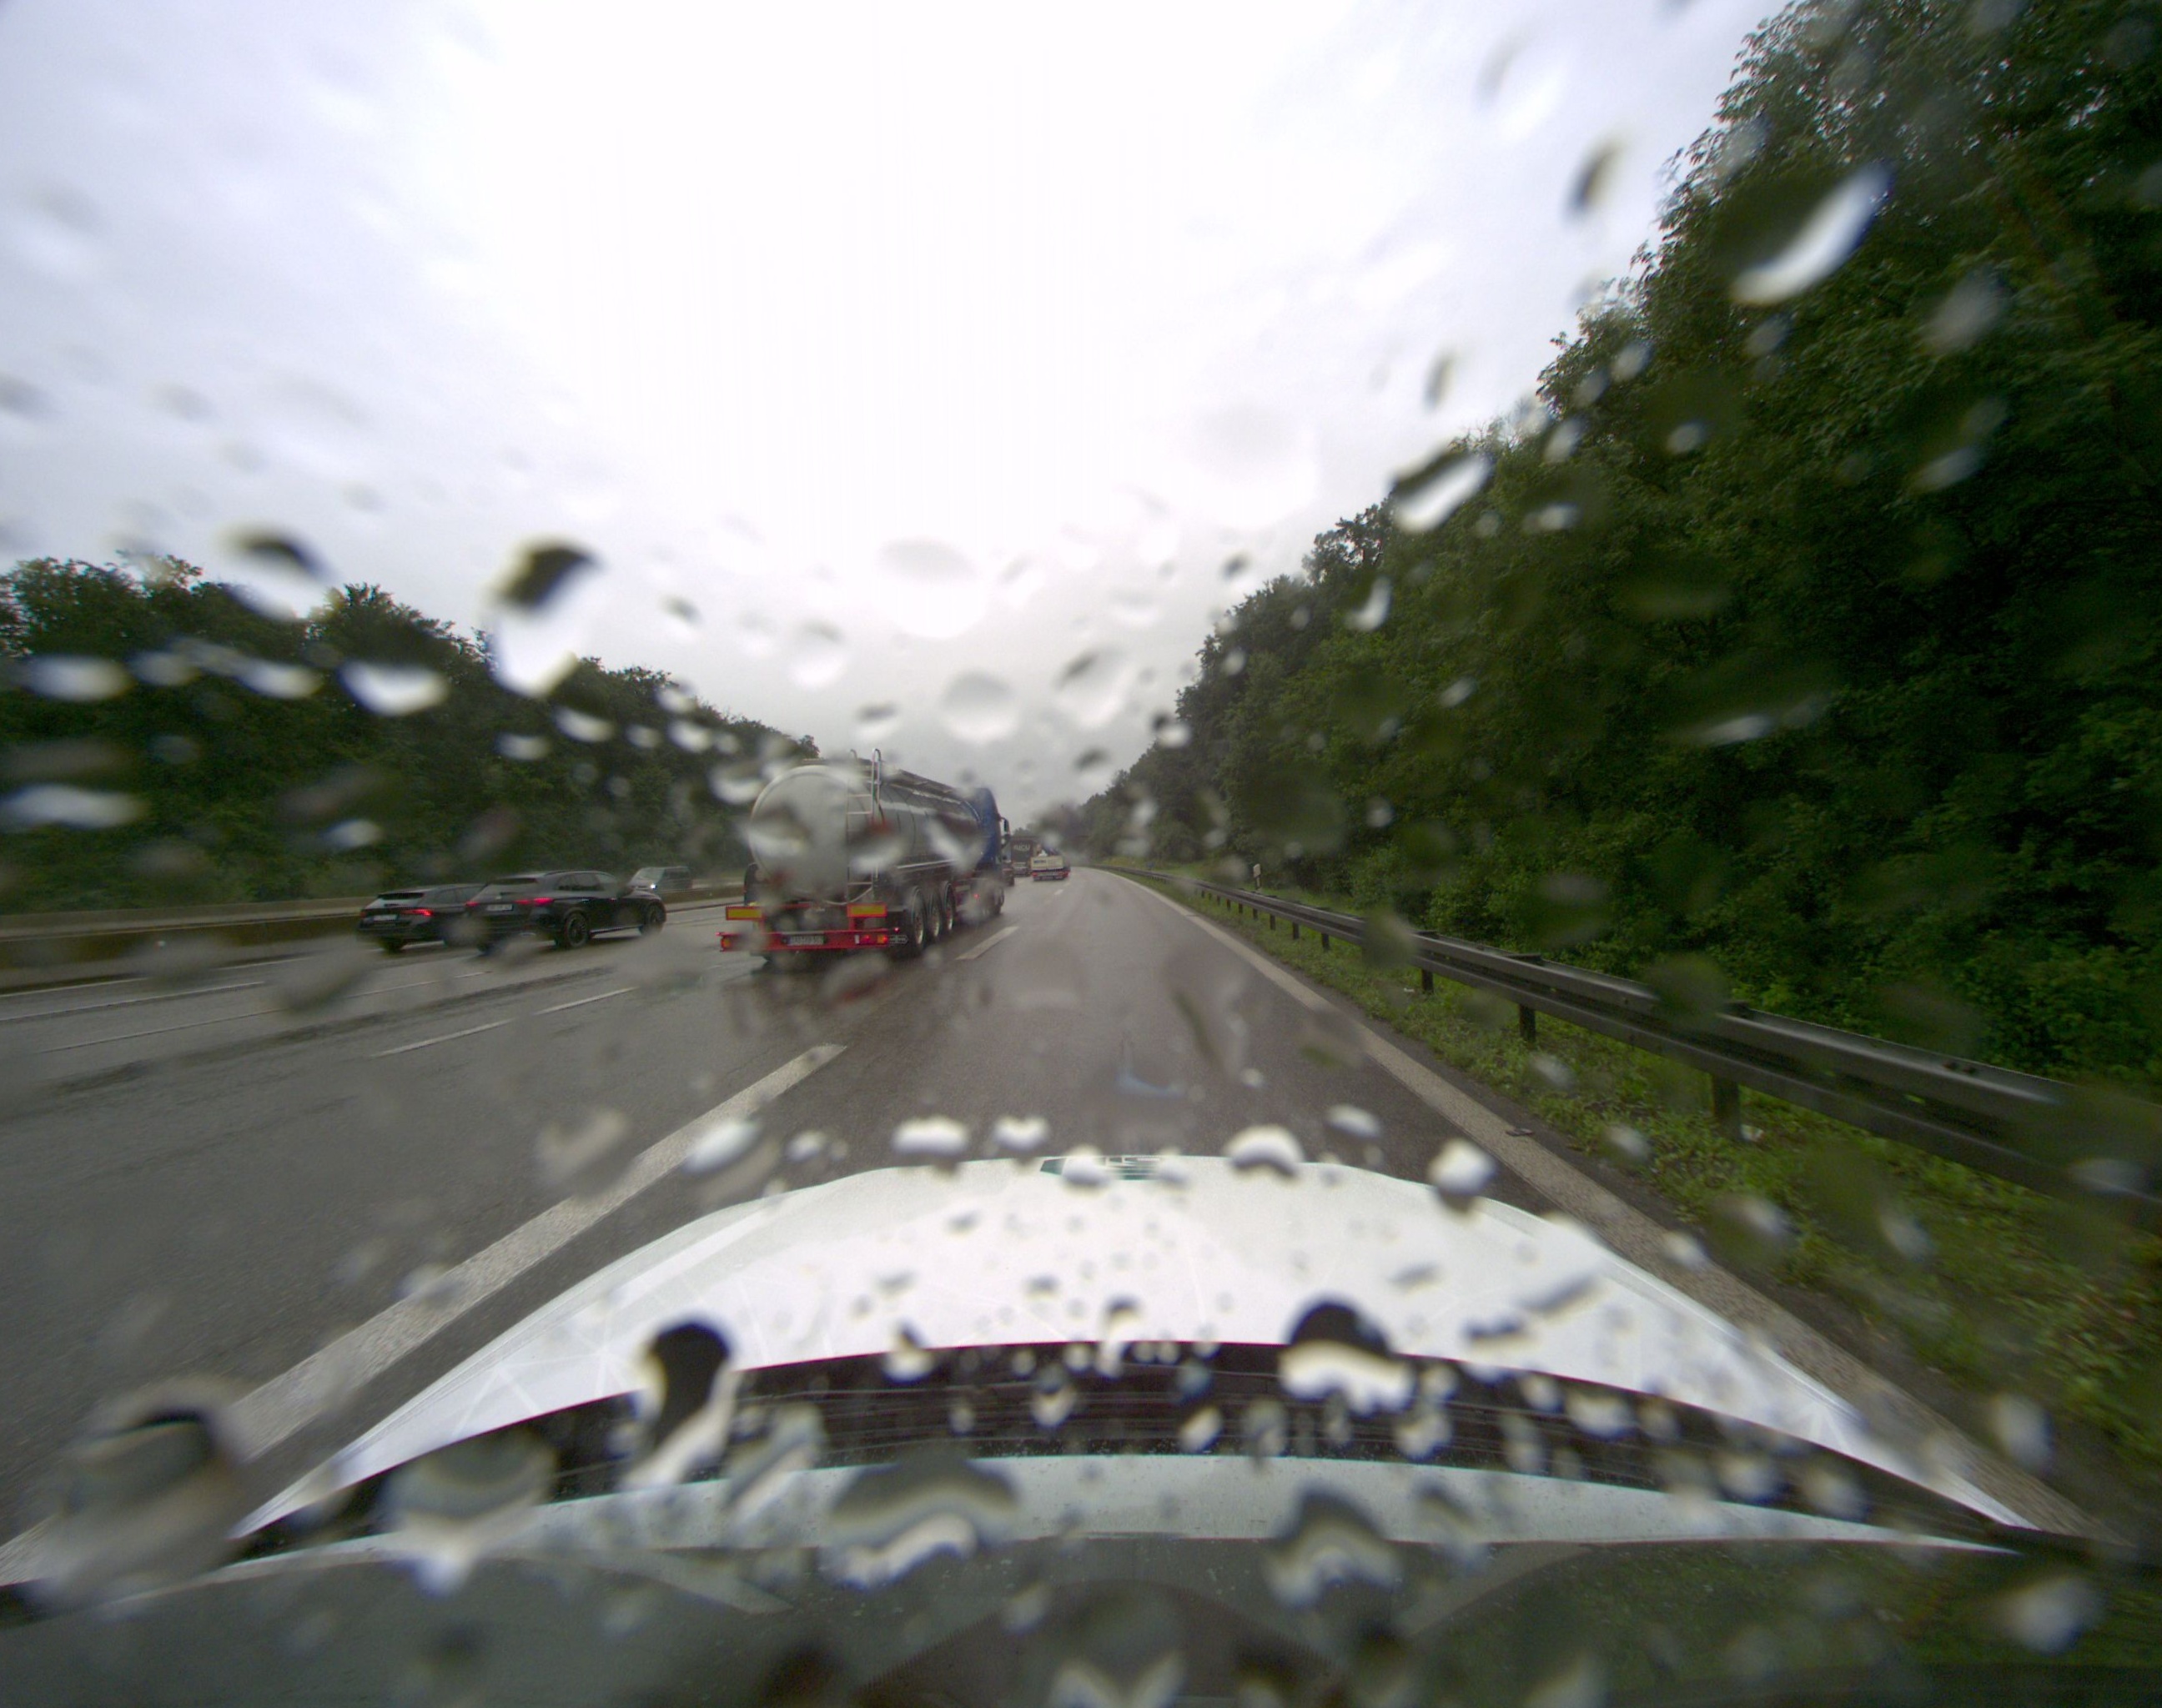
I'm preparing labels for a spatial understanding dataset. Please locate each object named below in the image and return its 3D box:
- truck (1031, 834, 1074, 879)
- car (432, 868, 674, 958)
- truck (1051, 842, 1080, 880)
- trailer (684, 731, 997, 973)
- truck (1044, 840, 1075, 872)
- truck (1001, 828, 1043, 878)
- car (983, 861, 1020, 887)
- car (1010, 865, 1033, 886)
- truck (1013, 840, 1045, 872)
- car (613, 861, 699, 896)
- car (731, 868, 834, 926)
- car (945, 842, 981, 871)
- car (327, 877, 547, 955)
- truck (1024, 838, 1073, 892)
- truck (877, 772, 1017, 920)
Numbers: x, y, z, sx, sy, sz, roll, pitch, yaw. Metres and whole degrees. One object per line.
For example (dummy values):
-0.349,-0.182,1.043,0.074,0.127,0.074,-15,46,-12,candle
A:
-2.890,0.374,85.475,3.493,4.269,10.607,2,-2,3,truck
-11.149,1.155,17.745,1.986,1.594,4.809,-2,0,1,car
-2.480,1.294,133.976,4.323,5.765,9.725,2,-2,-1,truck
-3.863,0.000,16.323,2.862,3.289,10.083,-1,0,2,trailer
-2.886,0.394,114.610,3.741,3.971,11.059,2,-2,1,truck
-6.943,0.063,97.623,3.740,5.500,10.174,2,-2,2,truck
-5.270,1.355,54.521,1.986,1.636,4.000,2,-2,1,car
-6.031,2.220,83.091,1.786,2.014,4.001,2,-2,2,car
-7.210,0.371,114.690,3.563,4.096,10.881,-1,-2,1,truck
-24.821,1.455,47.861,2.044,1.878,5.249,2,-2,2,car
-10.399,1.444,28.735,1.986,1.798,4.155,-2,-1,1,car
-8.369,0.215,58.059,1.790,1.838,4.001,2,-2,2,car
-14.942,1.372,19.234,1.875,1.508,4.002,-2,0,2,car
-2.602,0.920,69.661,3.589,4.105,11.556,-2,0,0,truck
-3.605,-0.185,23.148,2.866,3.693,5.059,-1,0,2,truck
